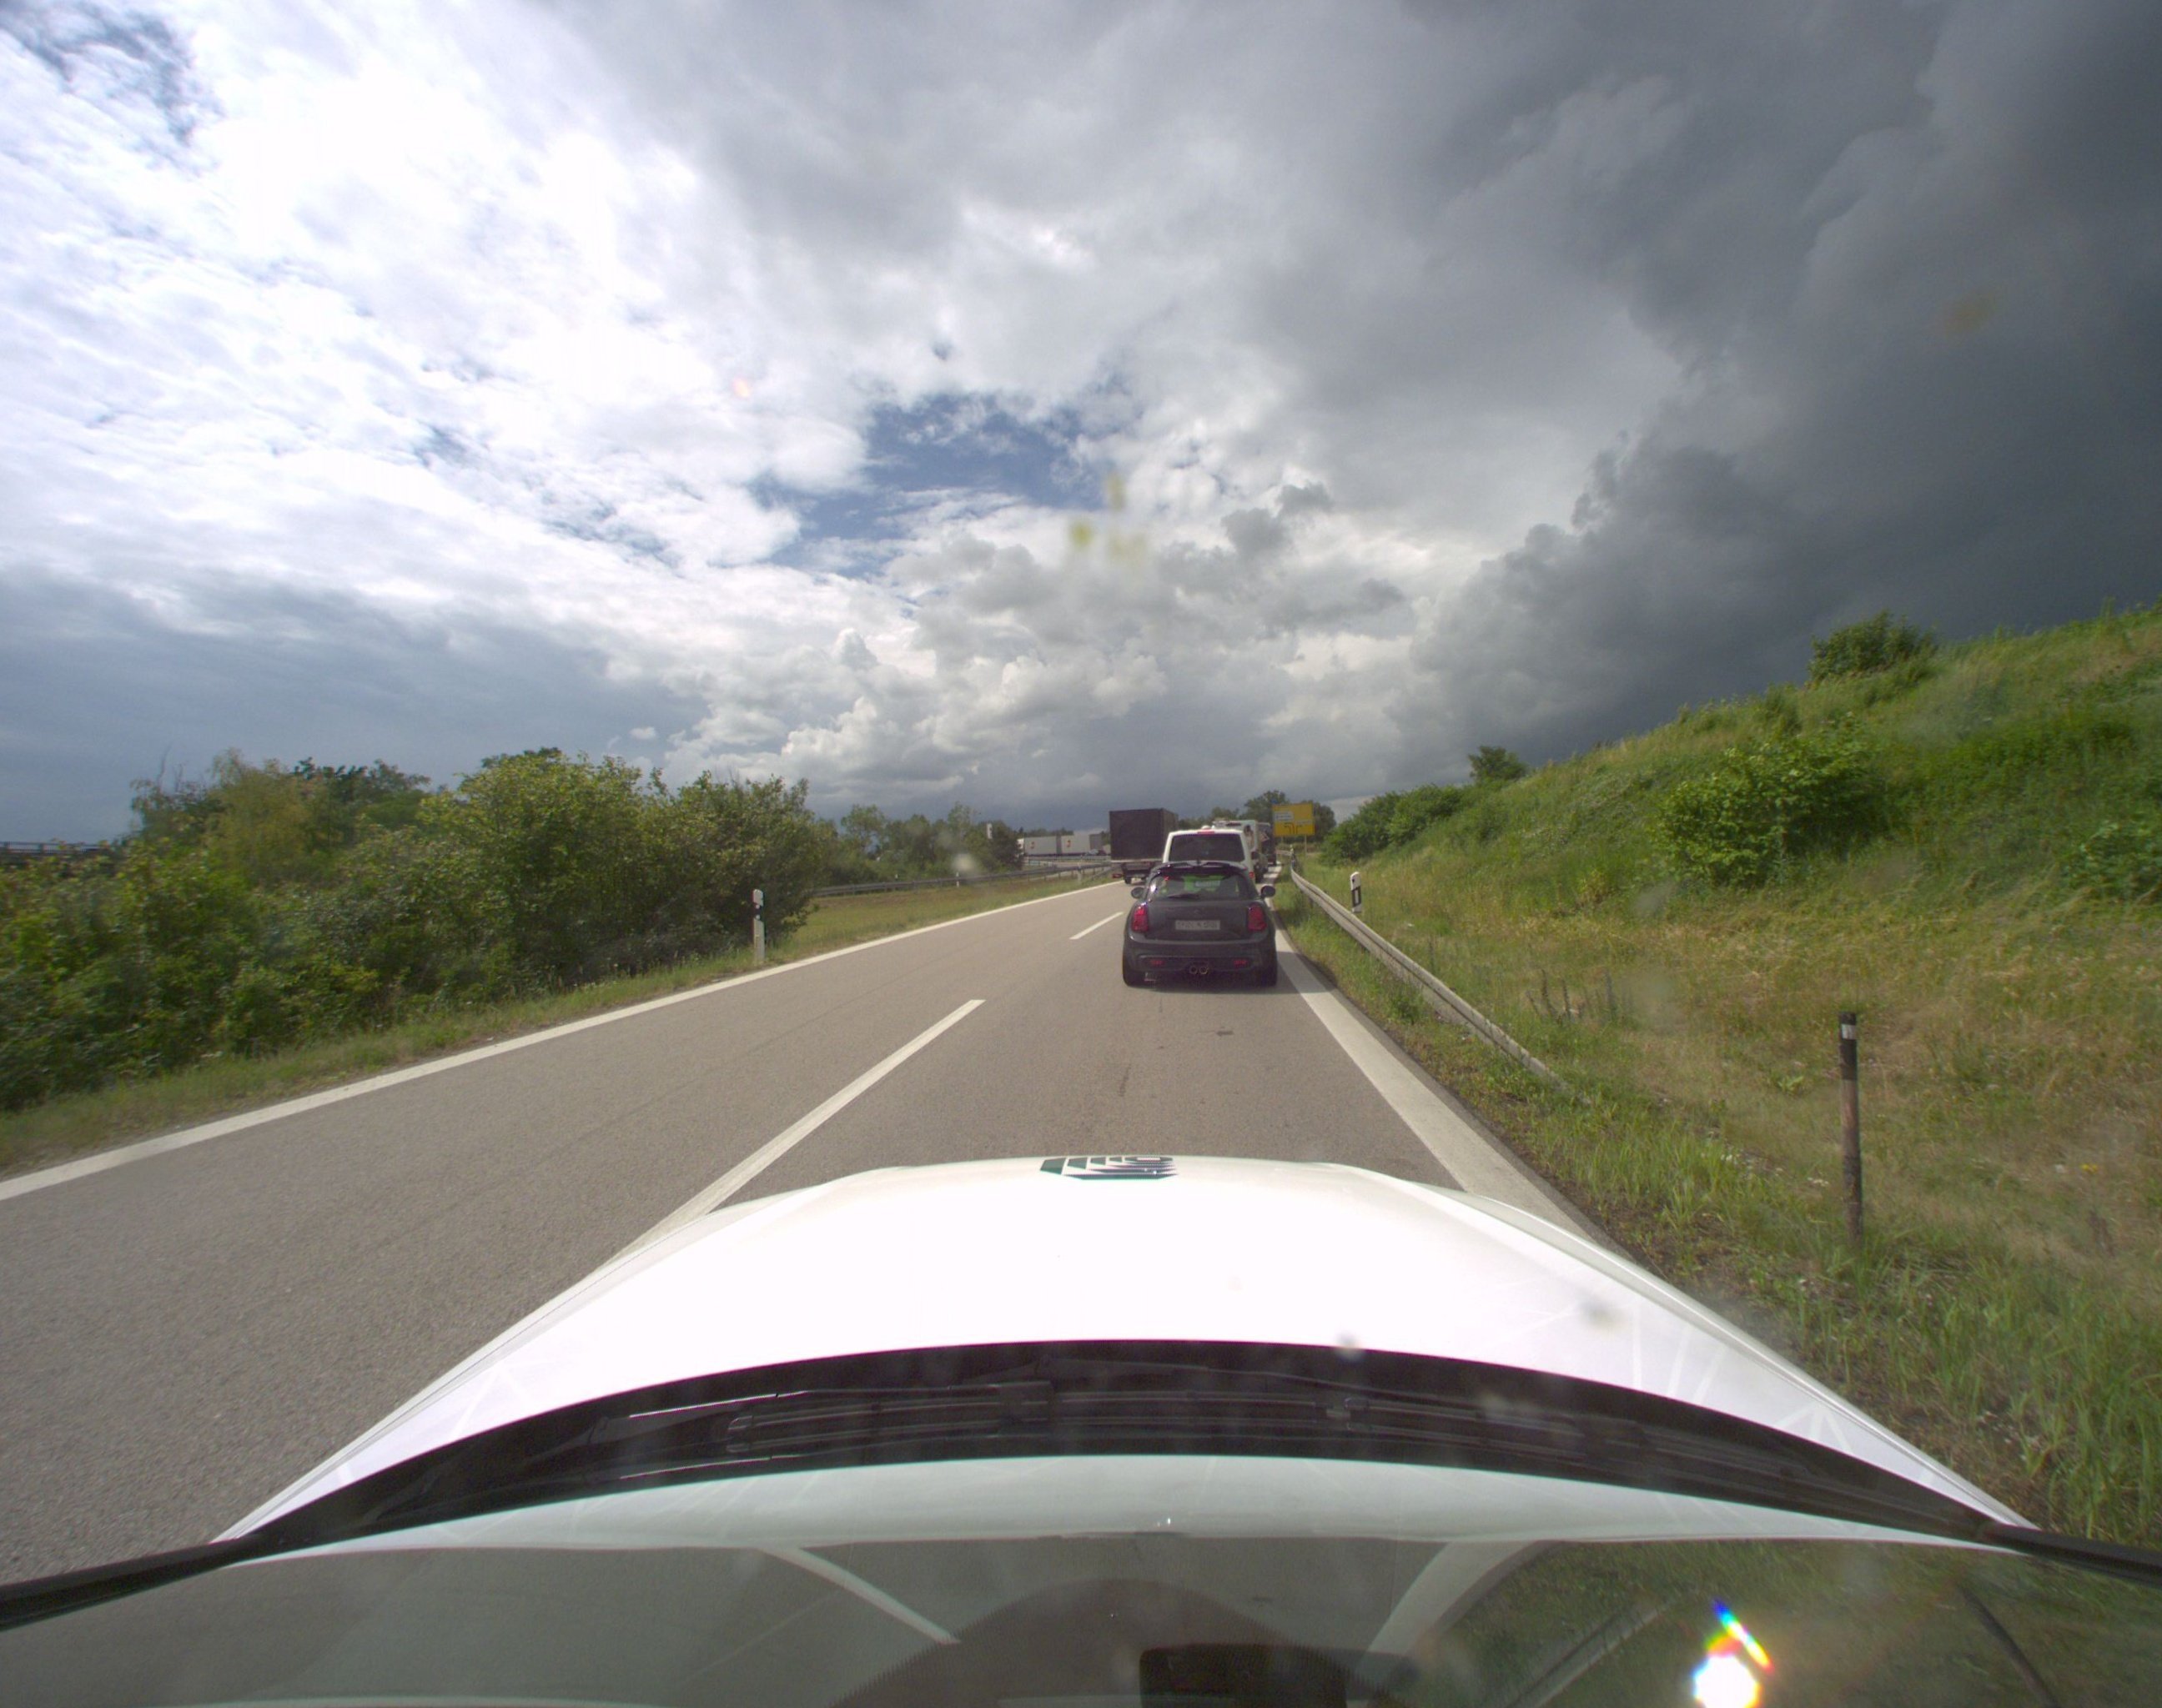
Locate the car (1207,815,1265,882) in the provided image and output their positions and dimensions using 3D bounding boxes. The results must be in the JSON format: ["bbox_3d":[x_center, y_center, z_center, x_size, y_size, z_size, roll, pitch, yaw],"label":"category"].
[{"bbox_3d":[6.714,-0.174,34.839,2.197,2.622,5.553,-1,-1,12],"label":"car"}]

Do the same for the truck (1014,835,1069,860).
[{"bbox_3d":[-6.729,-1.024,136.487,9.901,3.976,2.863,-1,-1,40],"label":"truck"}]

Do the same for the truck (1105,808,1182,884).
[{"bbox_3d":[3.080,-0.288,38.191,2.543,3.168,7.493,-1,-1,12],"label":"truck"}]

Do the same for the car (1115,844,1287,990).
[{"bbox_3d":[1.568,0.675,10.563,1.789,1.546,3.748,-1,0,9],"label":"car"}]

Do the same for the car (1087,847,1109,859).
[{"bbox_3d":[2.576,-0.108,122.021,1.820,1.756,3.969,0,-1,-23],"label":"car"}]

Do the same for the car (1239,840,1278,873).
[{"bbox_3d":[9.526,0.157,43.681,1.980,1.642,3.942,-1,-1,12],"label":"car"}]

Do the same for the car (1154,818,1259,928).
[{"bbox_3d":[2.754,0.374,17.415,1.899,2.045,4.193,-1,0,11],"label":"car"}]

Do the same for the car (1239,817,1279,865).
[{"bbox_3d":[12.220,-0.809,55.634,2.293,3.069,6.689,-1,-1,16],"label":"car"}]

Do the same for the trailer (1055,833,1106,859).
[{"bbox_3d":[-0.132,-1.190,130.067,3.062,3.898,8.667,0,-1,-41],"label":"trailer"}]
